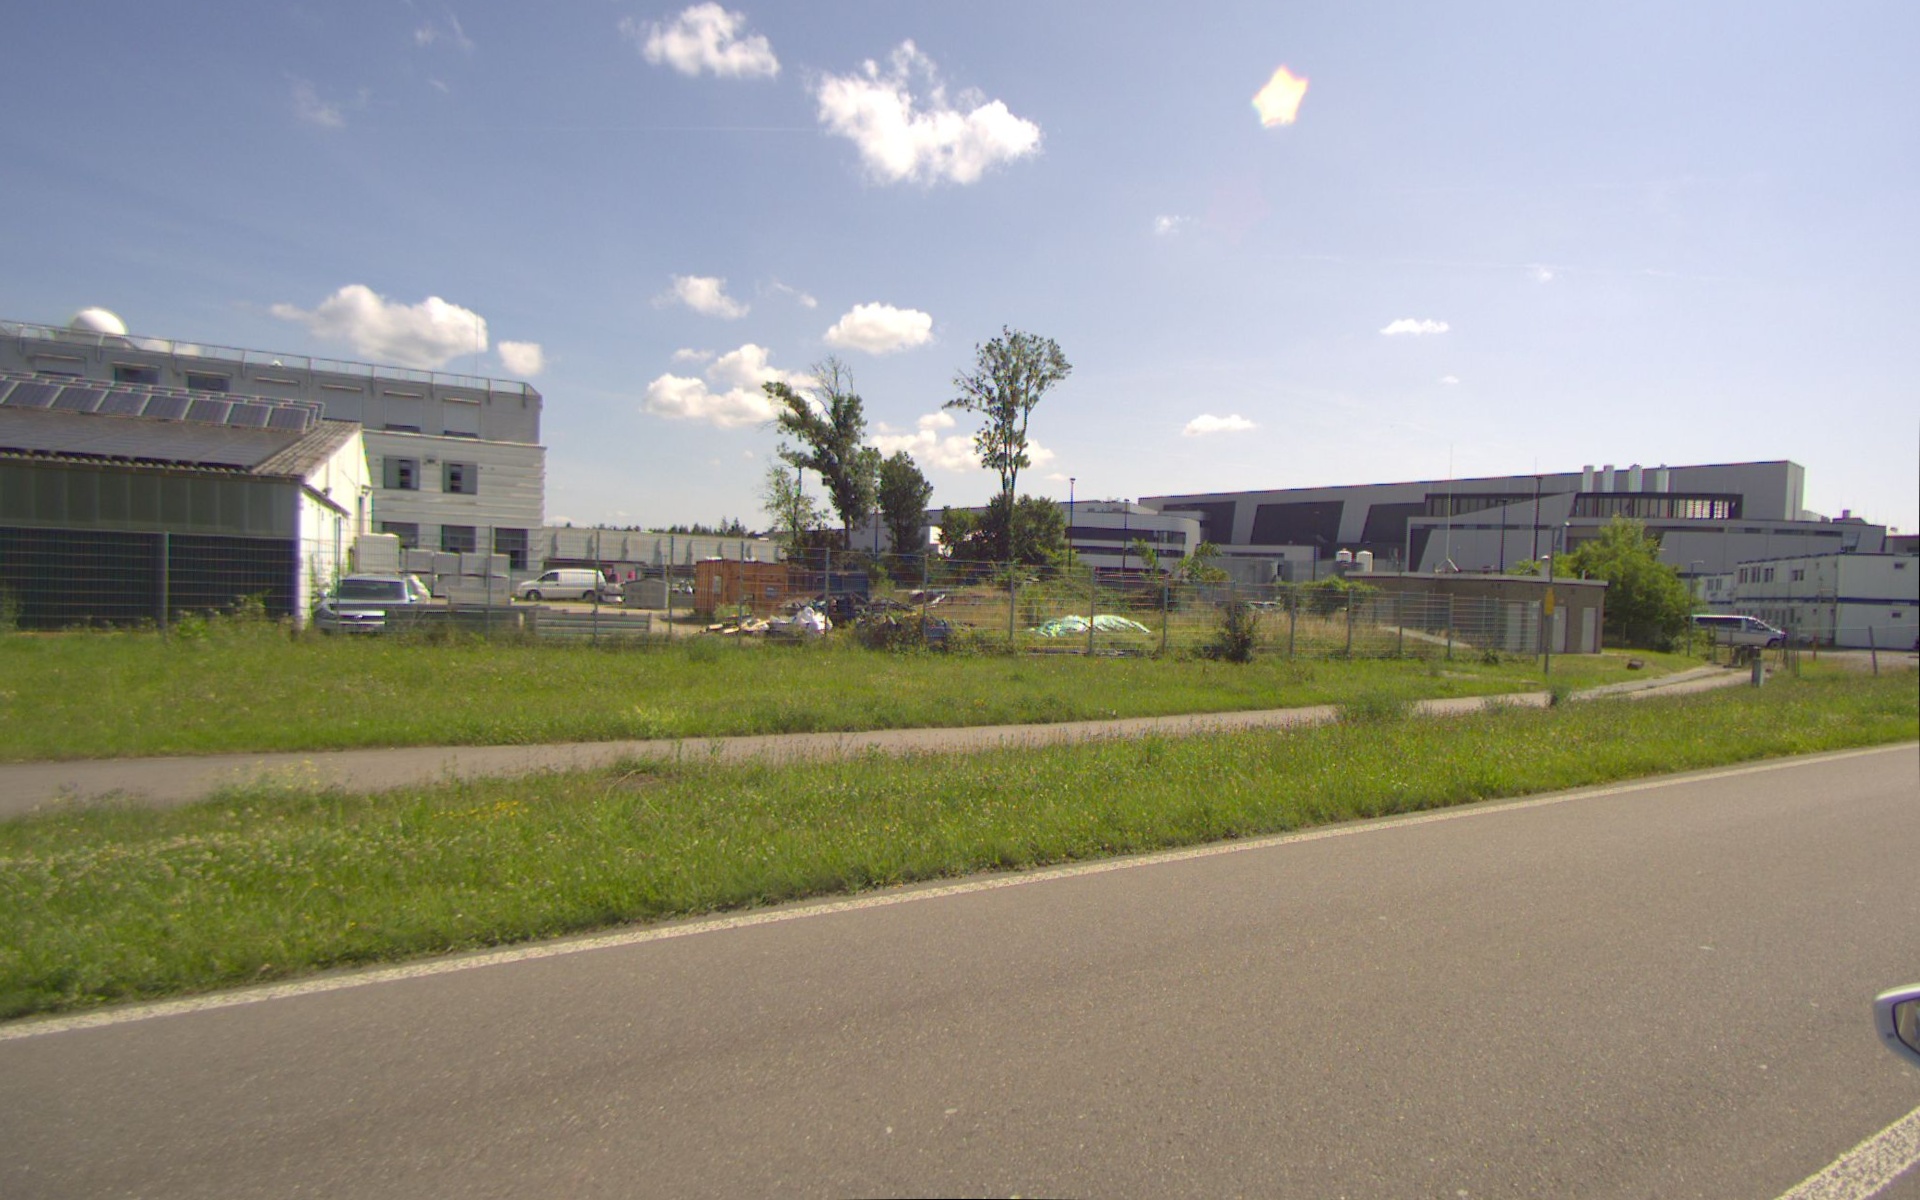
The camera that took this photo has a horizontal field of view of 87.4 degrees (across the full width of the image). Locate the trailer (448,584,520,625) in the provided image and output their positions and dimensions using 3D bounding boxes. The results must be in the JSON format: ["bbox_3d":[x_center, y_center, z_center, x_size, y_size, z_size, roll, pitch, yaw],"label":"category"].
[{"bbox_3d":[-15.131,0.118,31.811,1.880,1.182,3.971,1,0,-28],"label":"trailer"}]

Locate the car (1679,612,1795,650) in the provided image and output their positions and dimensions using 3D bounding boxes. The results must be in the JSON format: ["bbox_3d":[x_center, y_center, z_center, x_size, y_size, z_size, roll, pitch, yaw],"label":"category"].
[{"bbox_3d":[45.285,1.756,58.676,4.923,1.892,1.999,3,1,21],"label":"car"}]

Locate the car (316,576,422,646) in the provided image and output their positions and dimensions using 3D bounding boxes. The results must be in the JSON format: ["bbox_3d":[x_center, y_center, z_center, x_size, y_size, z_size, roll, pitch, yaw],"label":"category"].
[{"bbox_3d":[-12.850,0.191,22.026,1.725,1.360,3.972,1,1,-27],"label":"car"}]

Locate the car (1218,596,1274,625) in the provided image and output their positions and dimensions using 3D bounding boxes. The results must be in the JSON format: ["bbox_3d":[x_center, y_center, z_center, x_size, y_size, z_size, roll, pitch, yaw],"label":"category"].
[{"bbox_3d":[21.214,0.777,74.545,3.920,2.040,2.001,1,0,16],"label":"car"}]

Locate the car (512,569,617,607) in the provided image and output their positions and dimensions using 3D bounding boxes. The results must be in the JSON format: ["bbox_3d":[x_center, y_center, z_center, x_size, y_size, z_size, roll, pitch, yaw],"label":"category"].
[{"bbox_3d":[-23.075,-0.695,58.647,5.465,2.038,1.732,1,1,-31],"label":"car"}]

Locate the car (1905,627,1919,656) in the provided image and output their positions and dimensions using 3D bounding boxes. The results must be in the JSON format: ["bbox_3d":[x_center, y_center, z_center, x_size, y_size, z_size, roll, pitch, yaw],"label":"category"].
[{"bbox_3d":[51.651,2.240,51.199,4.912,1.436,1.990,2,1,41],"label":"car"}]

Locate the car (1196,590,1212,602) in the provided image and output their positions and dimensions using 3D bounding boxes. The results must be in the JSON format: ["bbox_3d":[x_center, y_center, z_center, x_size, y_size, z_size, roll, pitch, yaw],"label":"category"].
[{"bbox_3d":[42.619,-0.710,175.375,1.962,1.892,4.311,3,1,24],"label":"car"}]
